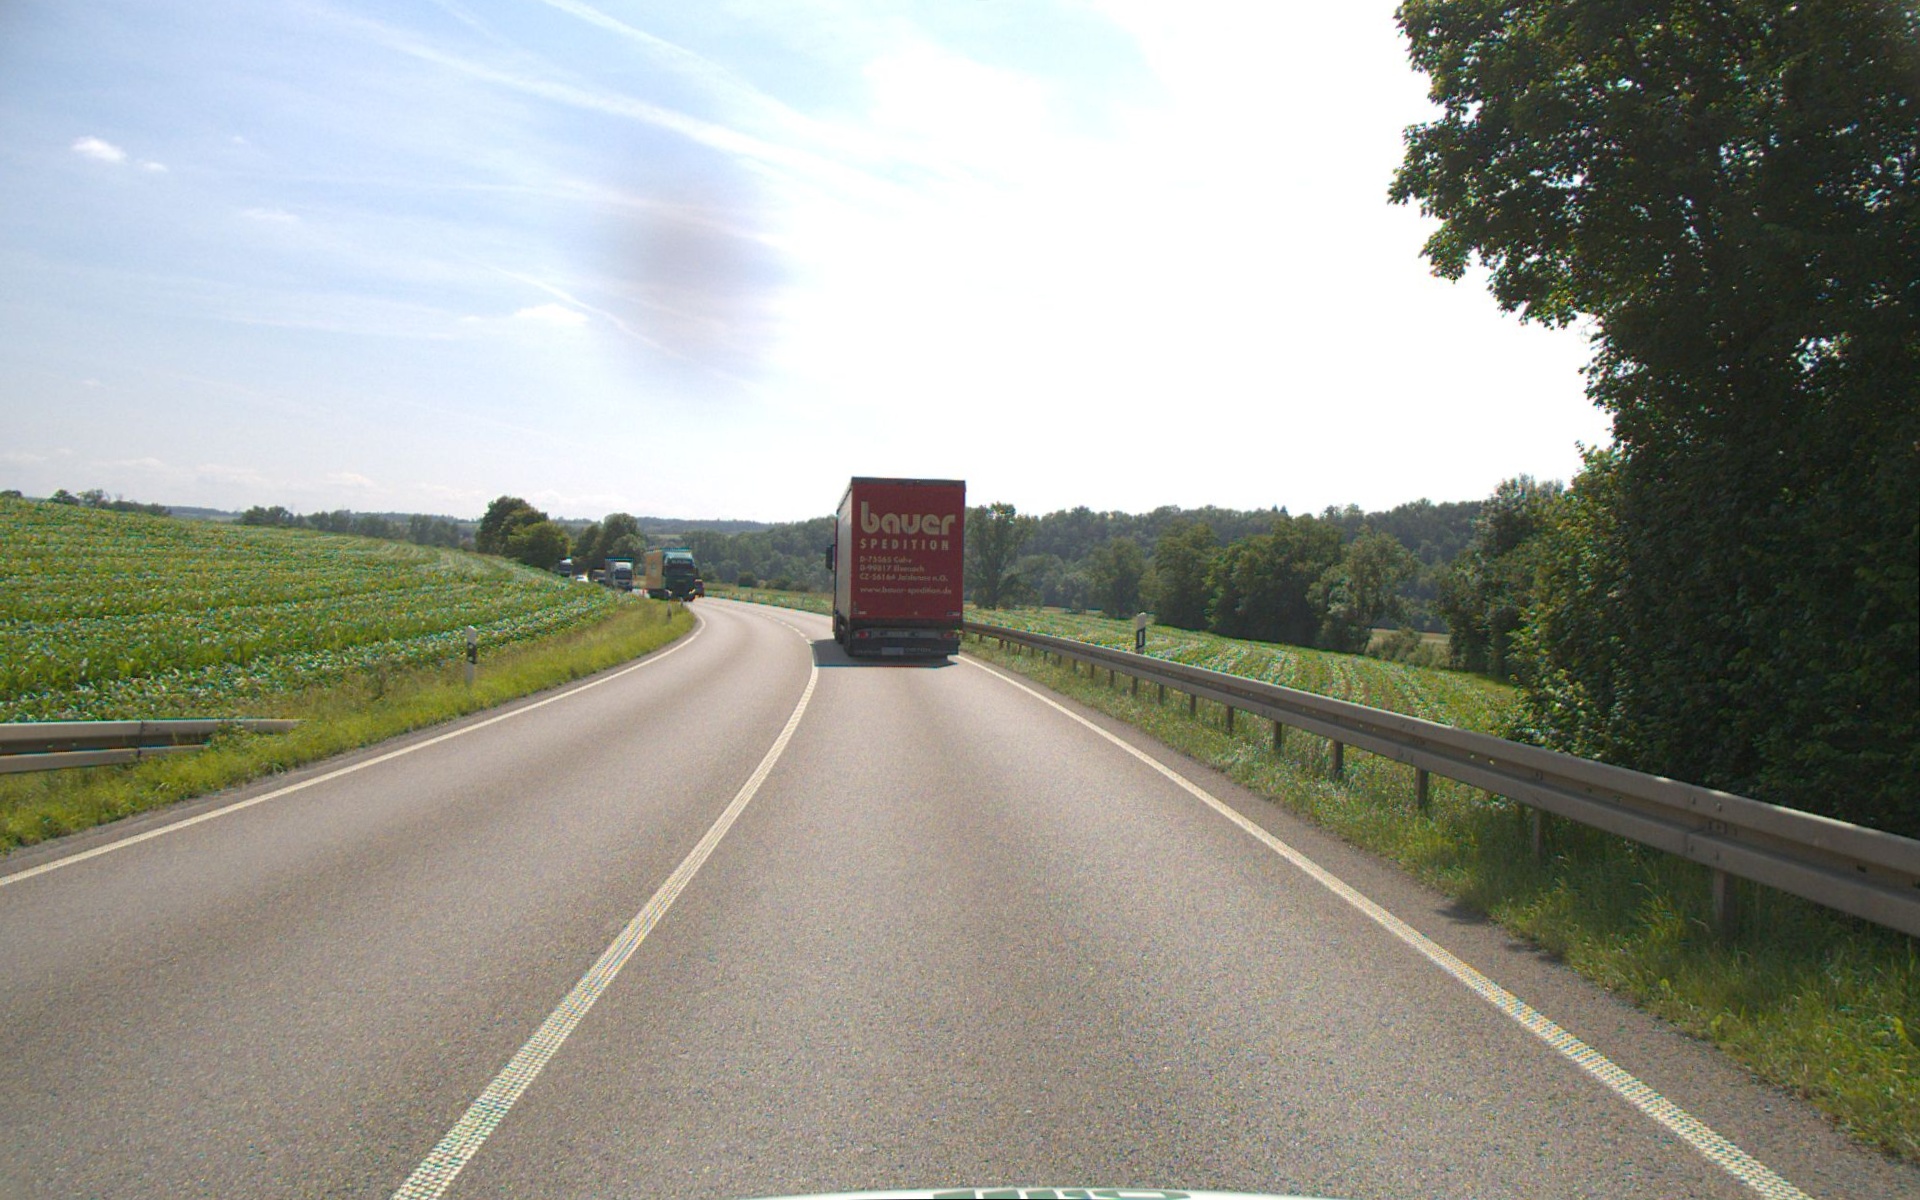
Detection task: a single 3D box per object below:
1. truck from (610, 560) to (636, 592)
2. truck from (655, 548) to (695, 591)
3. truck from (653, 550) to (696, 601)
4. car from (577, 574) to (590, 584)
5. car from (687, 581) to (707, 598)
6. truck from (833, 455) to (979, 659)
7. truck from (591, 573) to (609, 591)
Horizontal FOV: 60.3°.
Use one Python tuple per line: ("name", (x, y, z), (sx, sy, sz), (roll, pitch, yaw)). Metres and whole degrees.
("truck", (-39.334, -2.812, 192.732), (2.694, 3.641, 9.695), (1, 1, -13))
("truck", (-30.968, -3.221, 179.462), (3.578, 4.367, 11.943), (1, 0, -13))
("truck", (-24.736, -2.118, 142.705), (2.723, 4.068, 16.972), (1, 1, -13))
("car", (-57.695, -3.262, 253.503), (1.700, 1.465, 4.160), (0, 1, -15))
("car", (-25.325, -1.044, 159.340), (1.555, 1.527, 3.862), (2, 0, -14))
("truck", (-1.467, -0.932, 39.544), (3.034, 4.337, 8.306), (0, 0, -5))
("truck", (-47.471, -2.401, 218.092), (1.977, 2.360, 5.169), (1, 1, -16))
